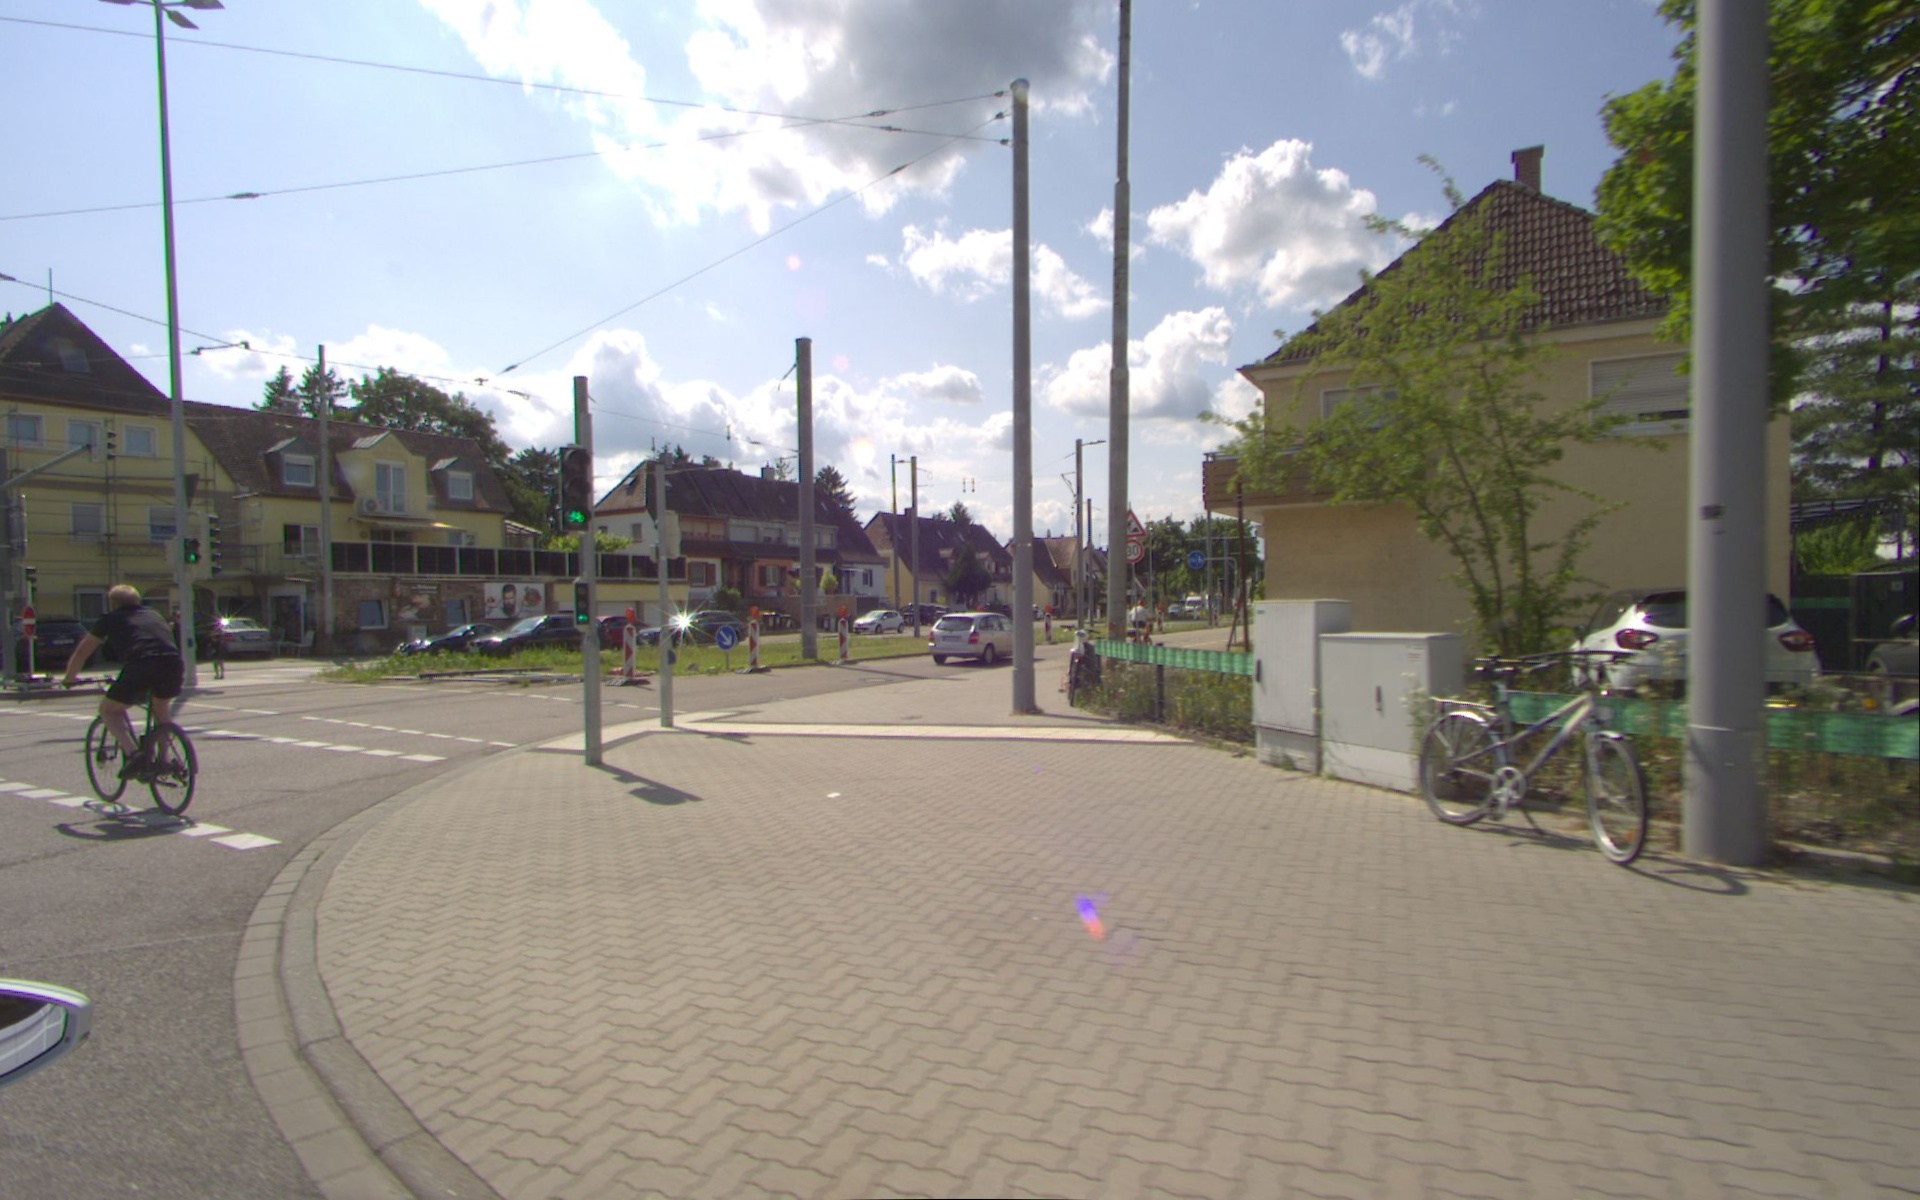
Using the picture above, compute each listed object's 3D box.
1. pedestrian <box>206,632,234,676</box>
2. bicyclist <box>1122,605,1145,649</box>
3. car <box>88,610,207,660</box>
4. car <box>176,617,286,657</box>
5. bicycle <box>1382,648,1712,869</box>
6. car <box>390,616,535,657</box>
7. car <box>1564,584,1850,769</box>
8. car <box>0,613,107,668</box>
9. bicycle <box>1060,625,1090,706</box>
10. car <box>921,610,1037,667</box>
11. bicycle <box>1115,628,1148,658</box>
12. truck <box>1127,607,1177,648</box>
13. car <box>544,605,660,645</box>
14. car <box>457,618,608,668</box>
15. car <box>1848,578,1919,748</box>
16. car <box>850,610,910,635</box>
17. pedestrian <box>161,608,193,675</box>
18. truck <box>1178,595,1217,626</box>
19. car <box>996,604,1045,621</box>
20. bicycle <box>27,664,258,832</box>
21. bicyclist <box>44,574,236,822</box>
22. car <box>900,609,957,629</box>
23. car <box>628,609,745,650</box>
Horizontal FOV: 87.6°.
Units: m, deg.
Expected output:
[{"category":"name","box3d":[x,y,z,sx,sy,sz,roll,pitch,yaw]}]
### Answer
[{"category":"pedestrian","box3d":[-19.276,1.400,26.091,0.383,1.150,0.487,-1,-1,33]},{"category":"bicyclist","box3d":[5.043,0.775,29.084,0.501,1.250,0.576,-1,0,28]},{"category":"car","box3d":[-27.618,1.195,34.020,4.073,1.616,1.990,-2,-2,33]},{"category":"car","box3d":[-26.093,1.335,35.838,4.073,1.368,1.864,-2,-2,33]},{"category":"bicycle","box3d":[3.204,0.797,5.684,0.455,1.031,1.753,0,-2,-18]},{"category":"car","box3d":[-17.038,1.255,34.501,1.713,1.325,4.312,-2,-2,29]},{"category":"car","box3d":[7.889,0.694,10.999,1.771,1.618,4.104,0,0,26]},{"category":"car","box3d":[-28.560,1.257,31.165,4.073,1.616,1.990,-2,-2,33]},{"category":"bicycle","box3d":[1.699,0.953,14.947,0.374,1.152,1.575,-1,-2,5]},{"category":"car","box3d":[0.625,1.030,28.540,1.708,1.422,4.000,2,1,28]},{"category":"bicycle","box3d":[4.965,1.226,28.938,0.497,0.791,1.578,-1,0,27]},{"category":"truck","box3d":[18.875,2.737,98.167,2.473,3.874,7.611,-1,-2,29]},{"category":"car","box3d":[-14.150,1.022,39.838,1.713,1.492,4.312,-1,-2,29]},{"category":"car","box3d":[-13.690,1.353,32.340,1.713,1.346,4.309,-2,0,29]},{"category":"car","box3d":[9.889,0.593,9.018,1.771,1.618,4.104,0,0,26]},{"category":"car","box3d":[-5.061,1.432,63.685,1.713,1.492,4.312,-1,-2,29]},{"category":"pedestrian","box3d":[-19.799,1.053,25.318,0.396,1.664,0.545,-1,-1,37]},{"category":"truck","box3d":[28.808,1.378,121.266,2.344,3.582,8.497,-1,-2,29]},{"category":"car","box3d":[5.747,1.195,94.699,4.258,1.492,1.948,-1,-2,24]},{"category":"bicycle","box3d":[-6.535,1.107,7.985,1.943,1.090,0.826,0,2,32]},{"category":"bicyclist","box3d":[-6.500,0.714,7.948,1.068,1.818,0.826,0,2,32]},{"category":"car","box3d":[-2.496,1.527,79.219,4.259,1.492,1.735,-2,-2,25]},{"category":"car","box3d":[-10.282,1.070,37.957,1.713,1.346,4.309,-2,0,29]}]
